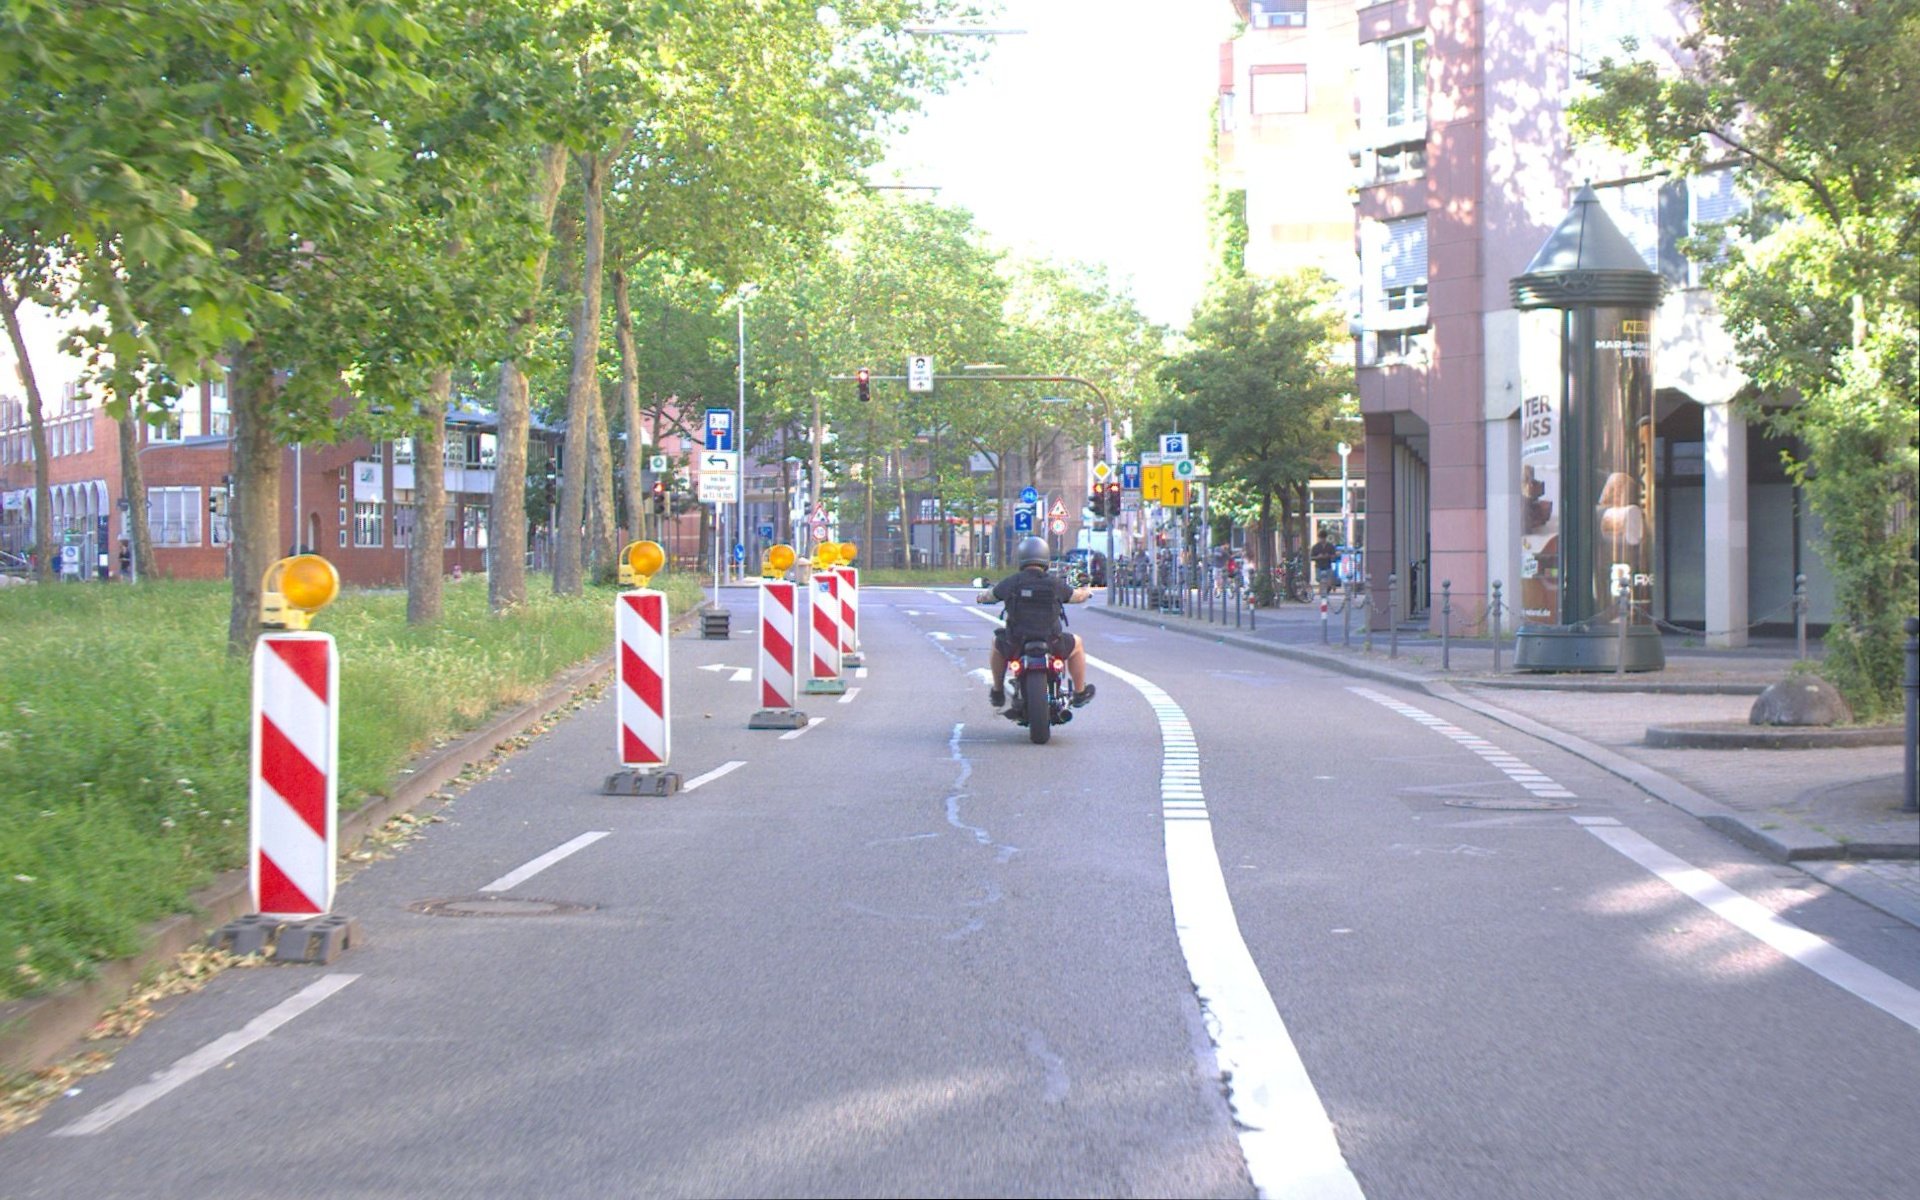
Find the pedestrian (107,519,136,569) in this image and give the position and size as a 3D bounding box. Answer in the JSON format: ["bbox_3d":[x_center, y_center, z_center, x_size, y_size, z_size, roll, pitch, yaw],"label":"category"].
[{"bbox_3d":[-31.311,-2.096,128.385,0.855,1.863,0.752,0,1,7],"label":"pedestrian"}]

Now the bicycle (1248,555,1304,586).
[{"bbox_3d":[10.908,-1.032,118.646,1.749,1.049,0.738,0,1,26],"label":"bicycle"}]

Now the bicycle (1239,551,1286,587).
[{"bbox_3d":[10.160,-1.049,115.569,1.567,1.223,0.577,0,1,5],"label":"bicycle"}]

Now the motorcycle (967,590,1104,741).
[{"bbox_3d":[0.582,0.491,26.796,1.018,1.093,2.007,0,1,1],"label":"motorcycle"}]

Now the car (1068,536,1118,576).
[{"bbox_3d":[5.480,-1.797,141.171,1.621,1.614,4.484,0,1,8],"label":"car"}]

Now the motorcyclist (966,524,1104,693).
[{"bbox_3d":[0.588,0.056,26.844,1.012,1.258,0.774,2,1,1],"label":"motorcyclist"}]

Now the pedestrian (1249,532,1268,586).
[{"bbox_3d":[9.180,-1.272,105.757,0.459,1.667,0.680,0,1,-9],"label":"pedestrian"}]

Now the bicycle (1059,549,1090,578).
[{"bbox_3d":[4.138,-1.325,124.469,0.737,1.049,1.753,0,1,-11],"label":"bicycle"}]

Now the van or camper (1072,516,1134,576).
[{"bbox_3d":[6.159,-2.325,147.630,2.049,2.532,5.771,0,1,8],"label":"van or camper"}]

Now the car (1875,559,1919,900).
[{"bbox_3d":[5.008,0.585,13.596,1.702,1.478,4.248,-1,1,1],"label":"car"}]

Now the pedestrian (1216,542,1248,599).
[{"bbox_3d":[8.351,-0.915,105.516,0.785,1.757,0.610,0,1,-19],"label":"pedestrian"}]

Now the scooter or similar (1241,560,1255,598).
[{"bbox_3d":[8.839,-0.637,105.570,0.394,1.154,1.249,0,1,4],"label":"scooter or similar"}]

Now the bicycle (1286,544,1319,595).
[{"bbox_3d":[8.396,-0.755,84.315,0.622,1.221,1.926,0,1,11],"label":"bicycle"}]

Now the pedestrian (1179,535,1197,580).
[{"bbox_3d":[8.923,-1.666,134.650,0.700,1.727,0.767,0,1,2],"label":"pedestrian"}]

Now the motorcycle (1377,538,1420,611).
[{"bbox_3d":[8.349,-0.494,65.484,0.488,1.368,2.091,0,1,-1],"label":"motorcycle"}]

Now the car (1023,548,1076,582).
[{"bbox_3d":[3.451,-1.340,131.641,1.620,1.298,4.310,0,1,7],"label":"car"}]

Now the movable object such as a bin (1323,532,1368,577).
[{"bbox_3d":[12.688,-1.502,113.046,1.410,1.477,0.871,0,1,10],"label":"movable object such as a bin"}]

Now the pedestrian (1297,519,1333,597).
[{"bbox_3d":[7.894,-0.934,76.453,0.781,1.732,0.837,0,1,7],"label":"pedestrian"}]

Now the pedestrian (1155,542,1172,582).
[{"bbox_3d":[7.981,-1.495,134.690,0.644,1.573,0.748,0,1,2],"label":"pedestrian"}]

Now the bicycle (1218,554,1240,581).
[{"bbox_3d":[9.686,-1.176,124.018,0.737,0.936,1.752,0,1,3],"label":"bicycle"}]
